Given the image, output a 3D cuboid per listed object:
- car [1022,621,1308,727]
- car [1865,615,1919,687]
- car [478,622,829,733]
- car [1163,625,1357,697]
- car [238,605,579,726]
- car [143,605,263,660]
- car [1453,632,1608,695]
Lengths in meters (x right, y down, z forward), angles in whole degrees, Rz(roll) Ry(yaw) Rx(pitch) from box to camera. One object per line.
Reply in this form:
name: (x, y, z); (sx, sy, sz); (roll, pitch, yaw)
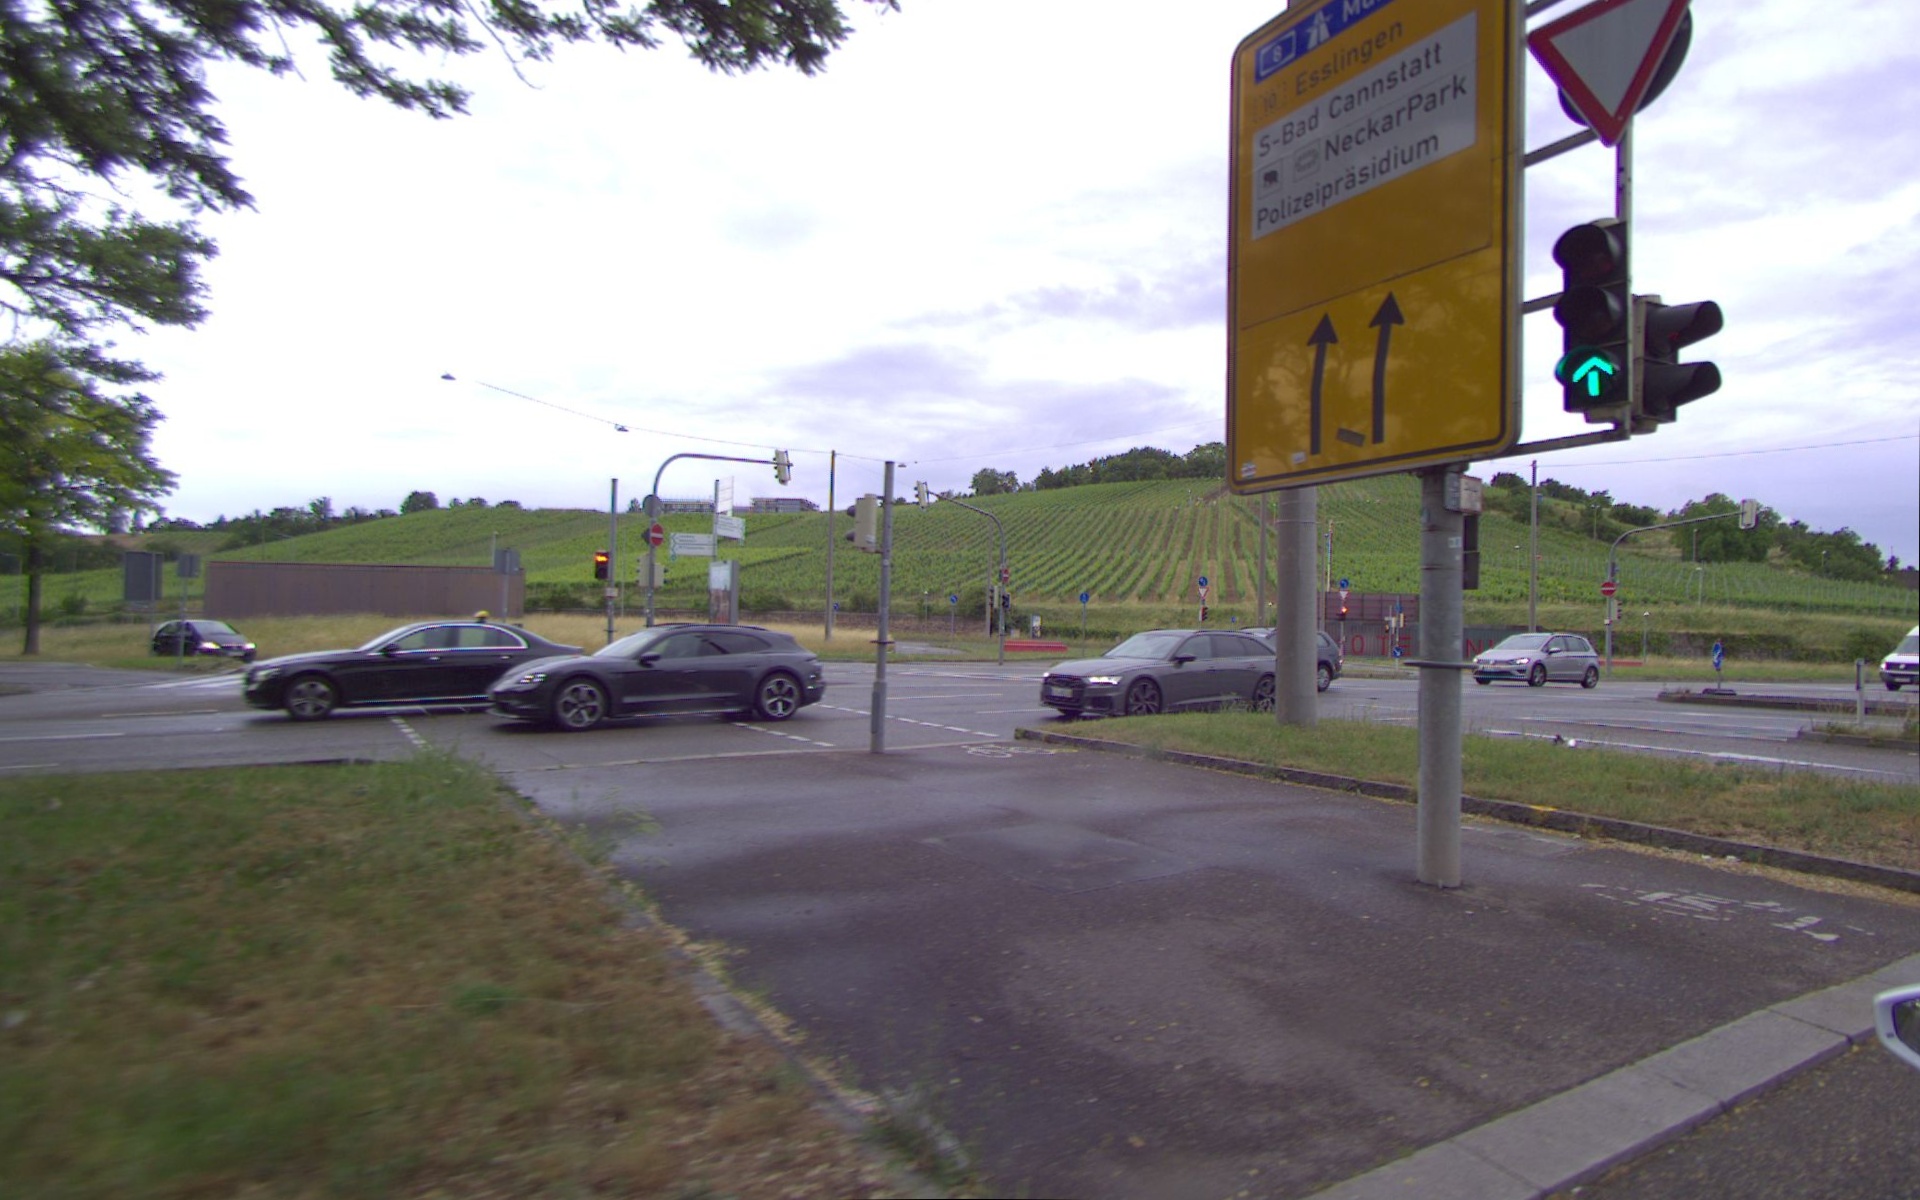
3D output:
car: (3.520, 1.151, 16.816); (4.842, 1.509, 1.889); (2, -1, -35)
car: (38.327, 2.043, 38.786); (6.067, 2.593, 1.994); (3, 0, -15)
car: (-4.419, 1.046, 14.796); (4.621, 1.381, 1.813); (2, -1, -35)
car: (6.990, 1.348, 23.218); (4.621, 1.492, 1.813); (2, -1, -35)
car: (-8.622, 0.923, 15.985); (4.516, 1.645, 1.819); (0, 0, -33)
car: (-27.158, 1.139, 36.018); (3.928, 1.684, 1.997); (3, 0, 30)
car: (16.470, 1.838, 28.967); (4.144, 1.596, 1.985); (3, 0, -29)
